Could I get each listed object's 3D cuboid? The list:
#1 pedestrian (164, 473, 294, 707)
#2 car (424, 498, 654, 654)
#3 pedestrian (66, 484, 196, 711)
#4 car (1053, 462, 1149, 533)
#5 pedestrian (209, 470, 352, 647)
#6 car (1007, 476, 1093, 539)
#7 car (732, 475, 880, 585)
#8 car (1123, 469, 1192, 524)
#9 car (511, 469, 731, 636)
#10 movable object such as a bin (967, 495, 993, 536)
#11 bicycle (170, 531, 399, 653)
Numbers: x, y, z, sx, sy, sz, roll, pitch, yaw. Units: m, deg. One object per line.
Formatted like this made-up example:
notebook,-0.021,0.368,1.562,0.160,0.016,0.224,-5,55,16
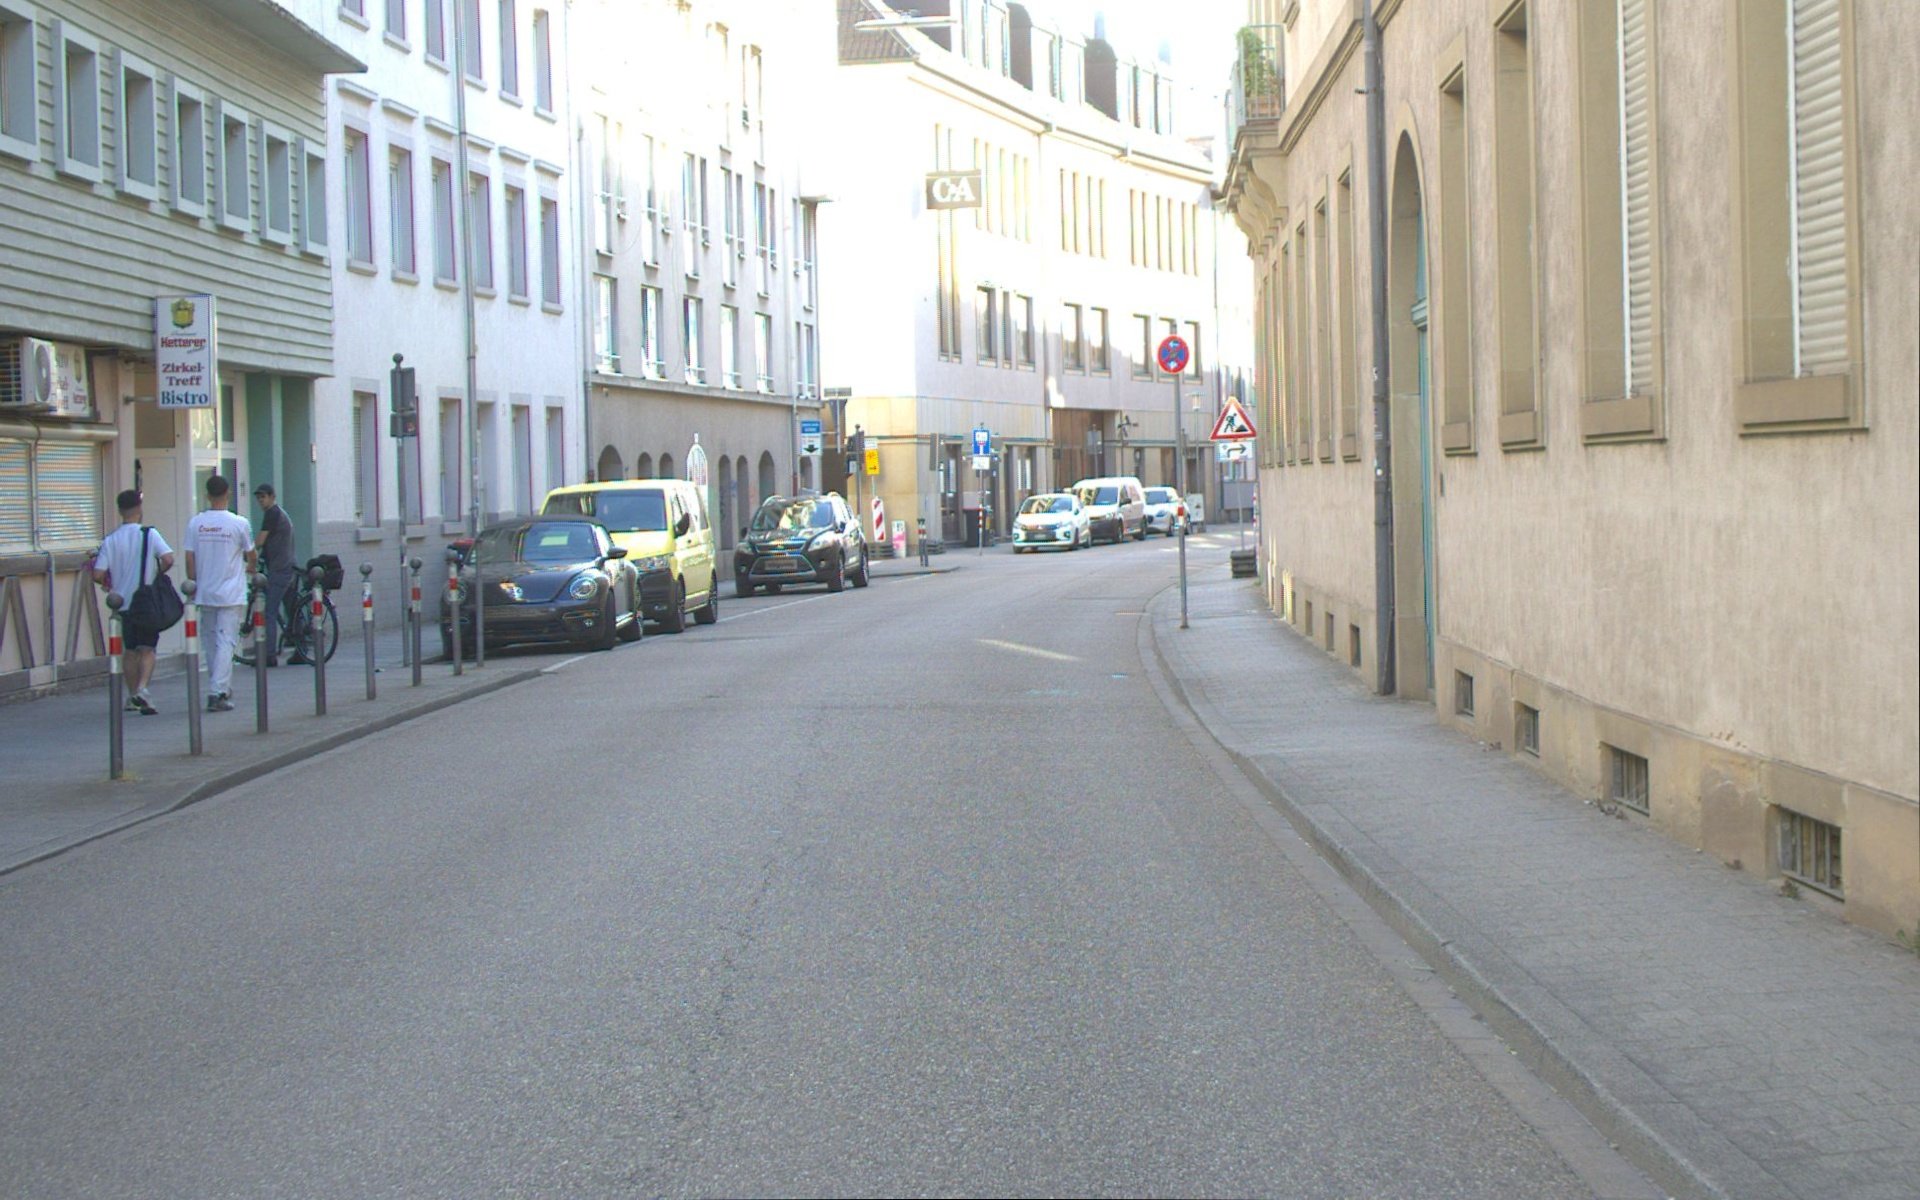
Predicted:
pedestrian,-5.568,-0.087,26.216,0.698,1.728,0.829,-3,2,2
car,-4.558,-0.312,37.811,1.819,1.481,4.077,-4,2,2
pedestrian,-6.289,-0.032,26.113,0.672,1.664,0.894,-2,2,2
car,3.948,-2.877,95.594,1.671,1.812,4.549,-2,2,15
pedestrian,-6.769,-0.416,34.261,1.079,1.722,0.801,-1,2,25
car,2.370,-2.433,89.925,1.671,1.501,3.793,-3,2,10
car,-2.635,-1.249,59.662,1.740,1.705,4.190,-4,2,8
car,5.854,-3.067,101.544,1.272,1.501,3.399,-2,2,16
car,-4.190,-0.652,43.285,1.880,1.860,4.864,-4,2,4
movable object such as a bin,0.523,-2.245,91.406,0.609,1.057,0.713,1,2,6
bicycle,-6.731,-0.076,34.258,2.131,1.159,0.822,-1,2,25
